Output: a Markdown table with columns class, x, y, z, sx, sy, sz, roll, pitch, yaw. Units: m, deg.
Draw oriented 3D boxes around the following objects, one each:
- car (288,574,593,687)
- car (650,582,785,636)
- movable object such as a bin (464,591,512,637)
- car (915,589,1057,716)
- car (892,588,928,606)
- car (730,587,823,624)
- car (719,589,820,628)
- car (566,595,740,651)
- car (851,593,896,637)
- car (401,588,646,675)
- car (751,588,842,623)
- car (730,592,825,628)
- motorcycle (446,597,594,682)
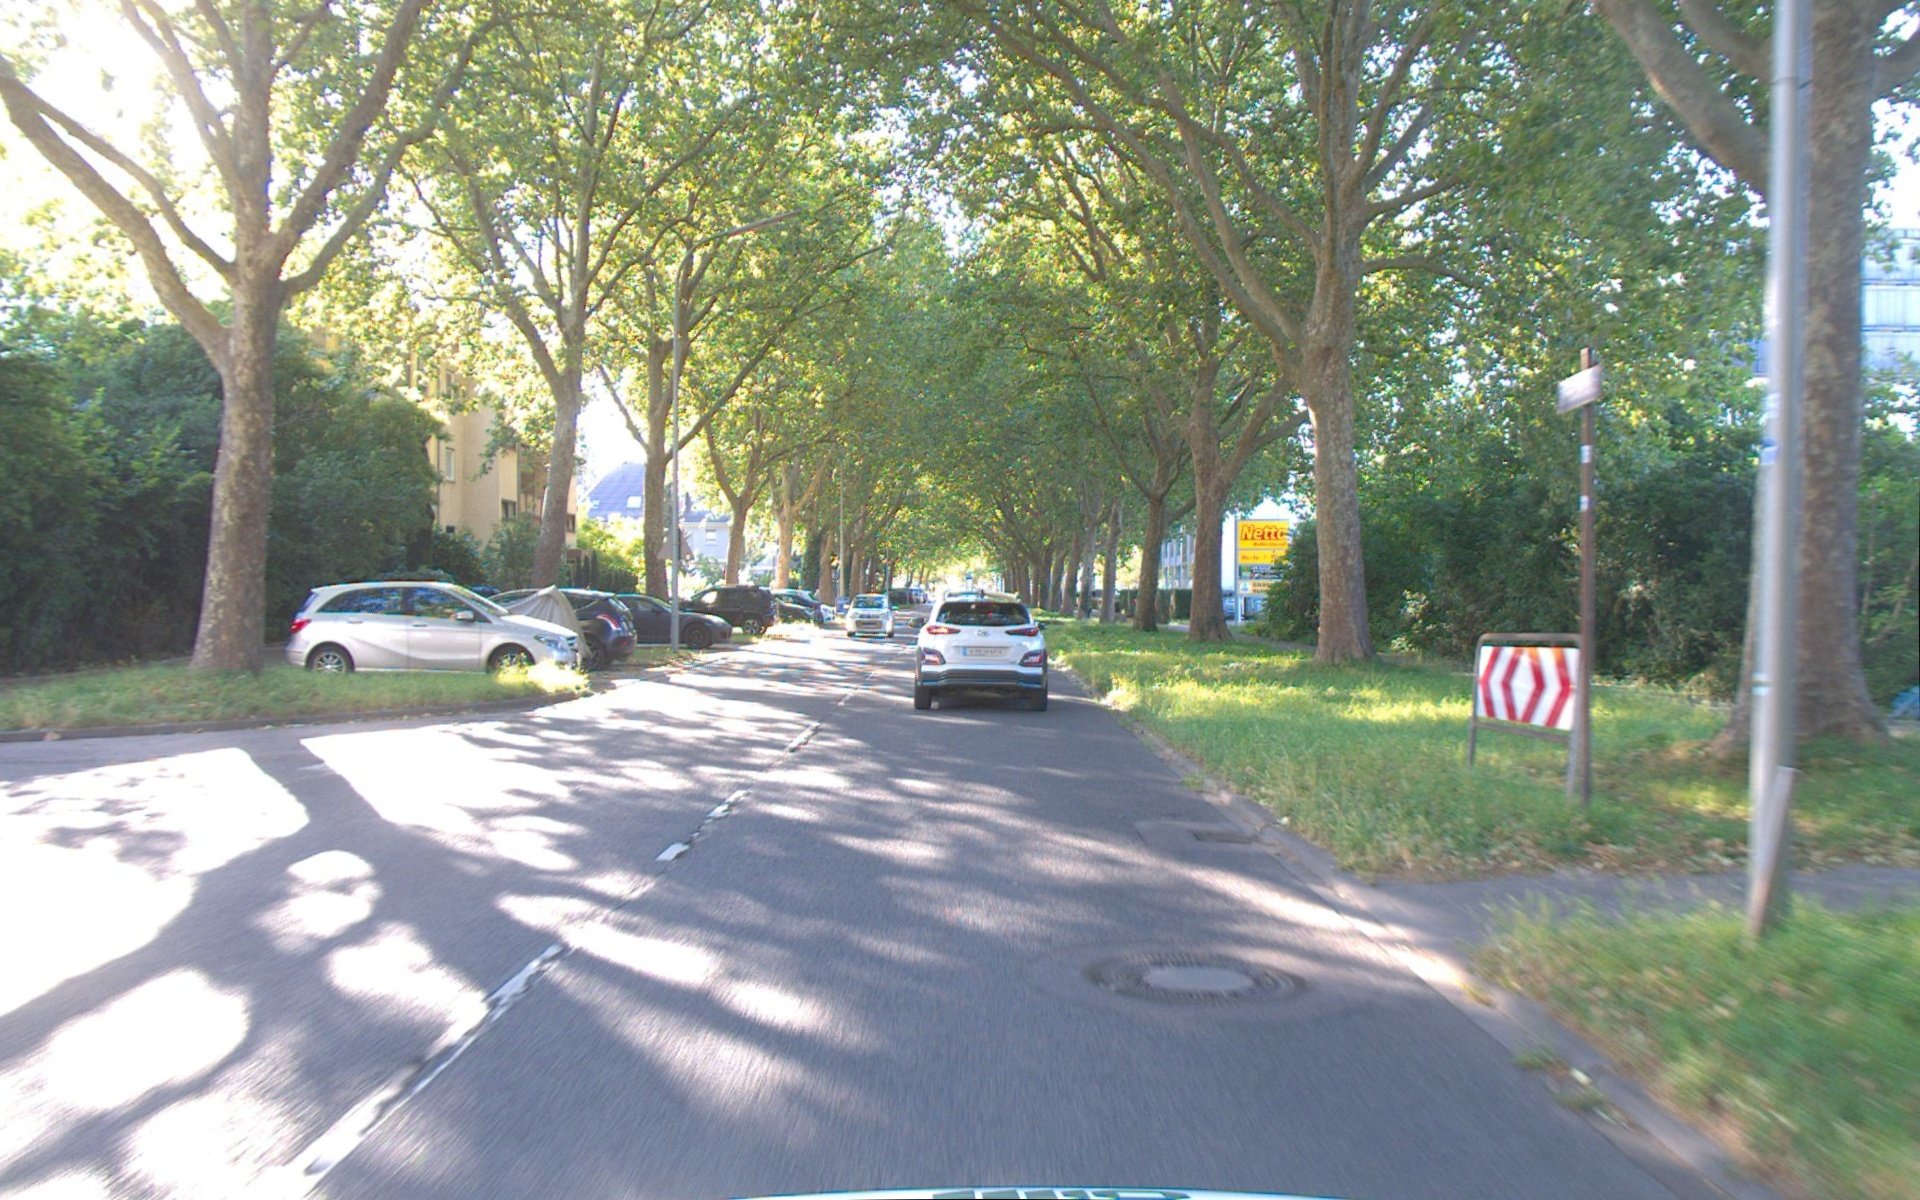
| class | x | y | z | sx | sy | sz | roll | pitch | yaw |
| --- | --- | --- | --- | --- | --- | --- | --- | --- | --- |
| car | -7.898 | 0.456 | 25.493 | 4.101 | 1.612 | 1.998 | 1 | 0 | -5 |
| car | -7.925 | 0.289 | 54.289 | 4.157 | 1.709 | 1.671 | 1 | 0 | 0 |
| movable object such as a bin | -14.284 | 0.409 | 50.069 | 1.161 | 1.374 | 0.954 | 0 | -1 | 0 |
| car | 0.321 | 0.664 | 23.334 | 1.798 | 1.583 | 4.000 | 1 | 0 | -1 |
| car | -5.520 | -0.335 | 182.285 | 3.909 | 1.803 | 1.998 | 1 | 0 | -5 |
| car | -8.070 | 0.228 | 73.030 | 3.906 | 1.546 | 1.809 | 1 | 0 | -1 |
| car | -7.768 | 0.336 | 67.733 | 3.906 | 1.496 | 1.780 | 1 | 0 | -1 |
| car | -7.789 | 0.565 | 42.246 | 4.155 | 1.376 | 1.741 | 0 | 0 | -2 |
| car | -3.005 | 0.503 | 58.008 | 1.504 | 1.484 | 3.184 | 0 | 0 | -2 |
| car | -7.988 | 0.564 | 30.564 | 4.078 | 1.532 | 1.800 | 0 | 0 | -4 |
| car | -7.452 | 0.246 | 75.547 | 3.904 | 1.496 | 1.809 | 1 | 0 | 1 |
| car | -7.694 | 0.408 | 69.939 | 3.908 | 1.449 | 1.808 | 1 | 0 | -4 |
| motorcycle | -7.429 | 0.652 | 28.023 | 2.339 | 1.412 | 0.647 | 0 | 0 | -6 |
